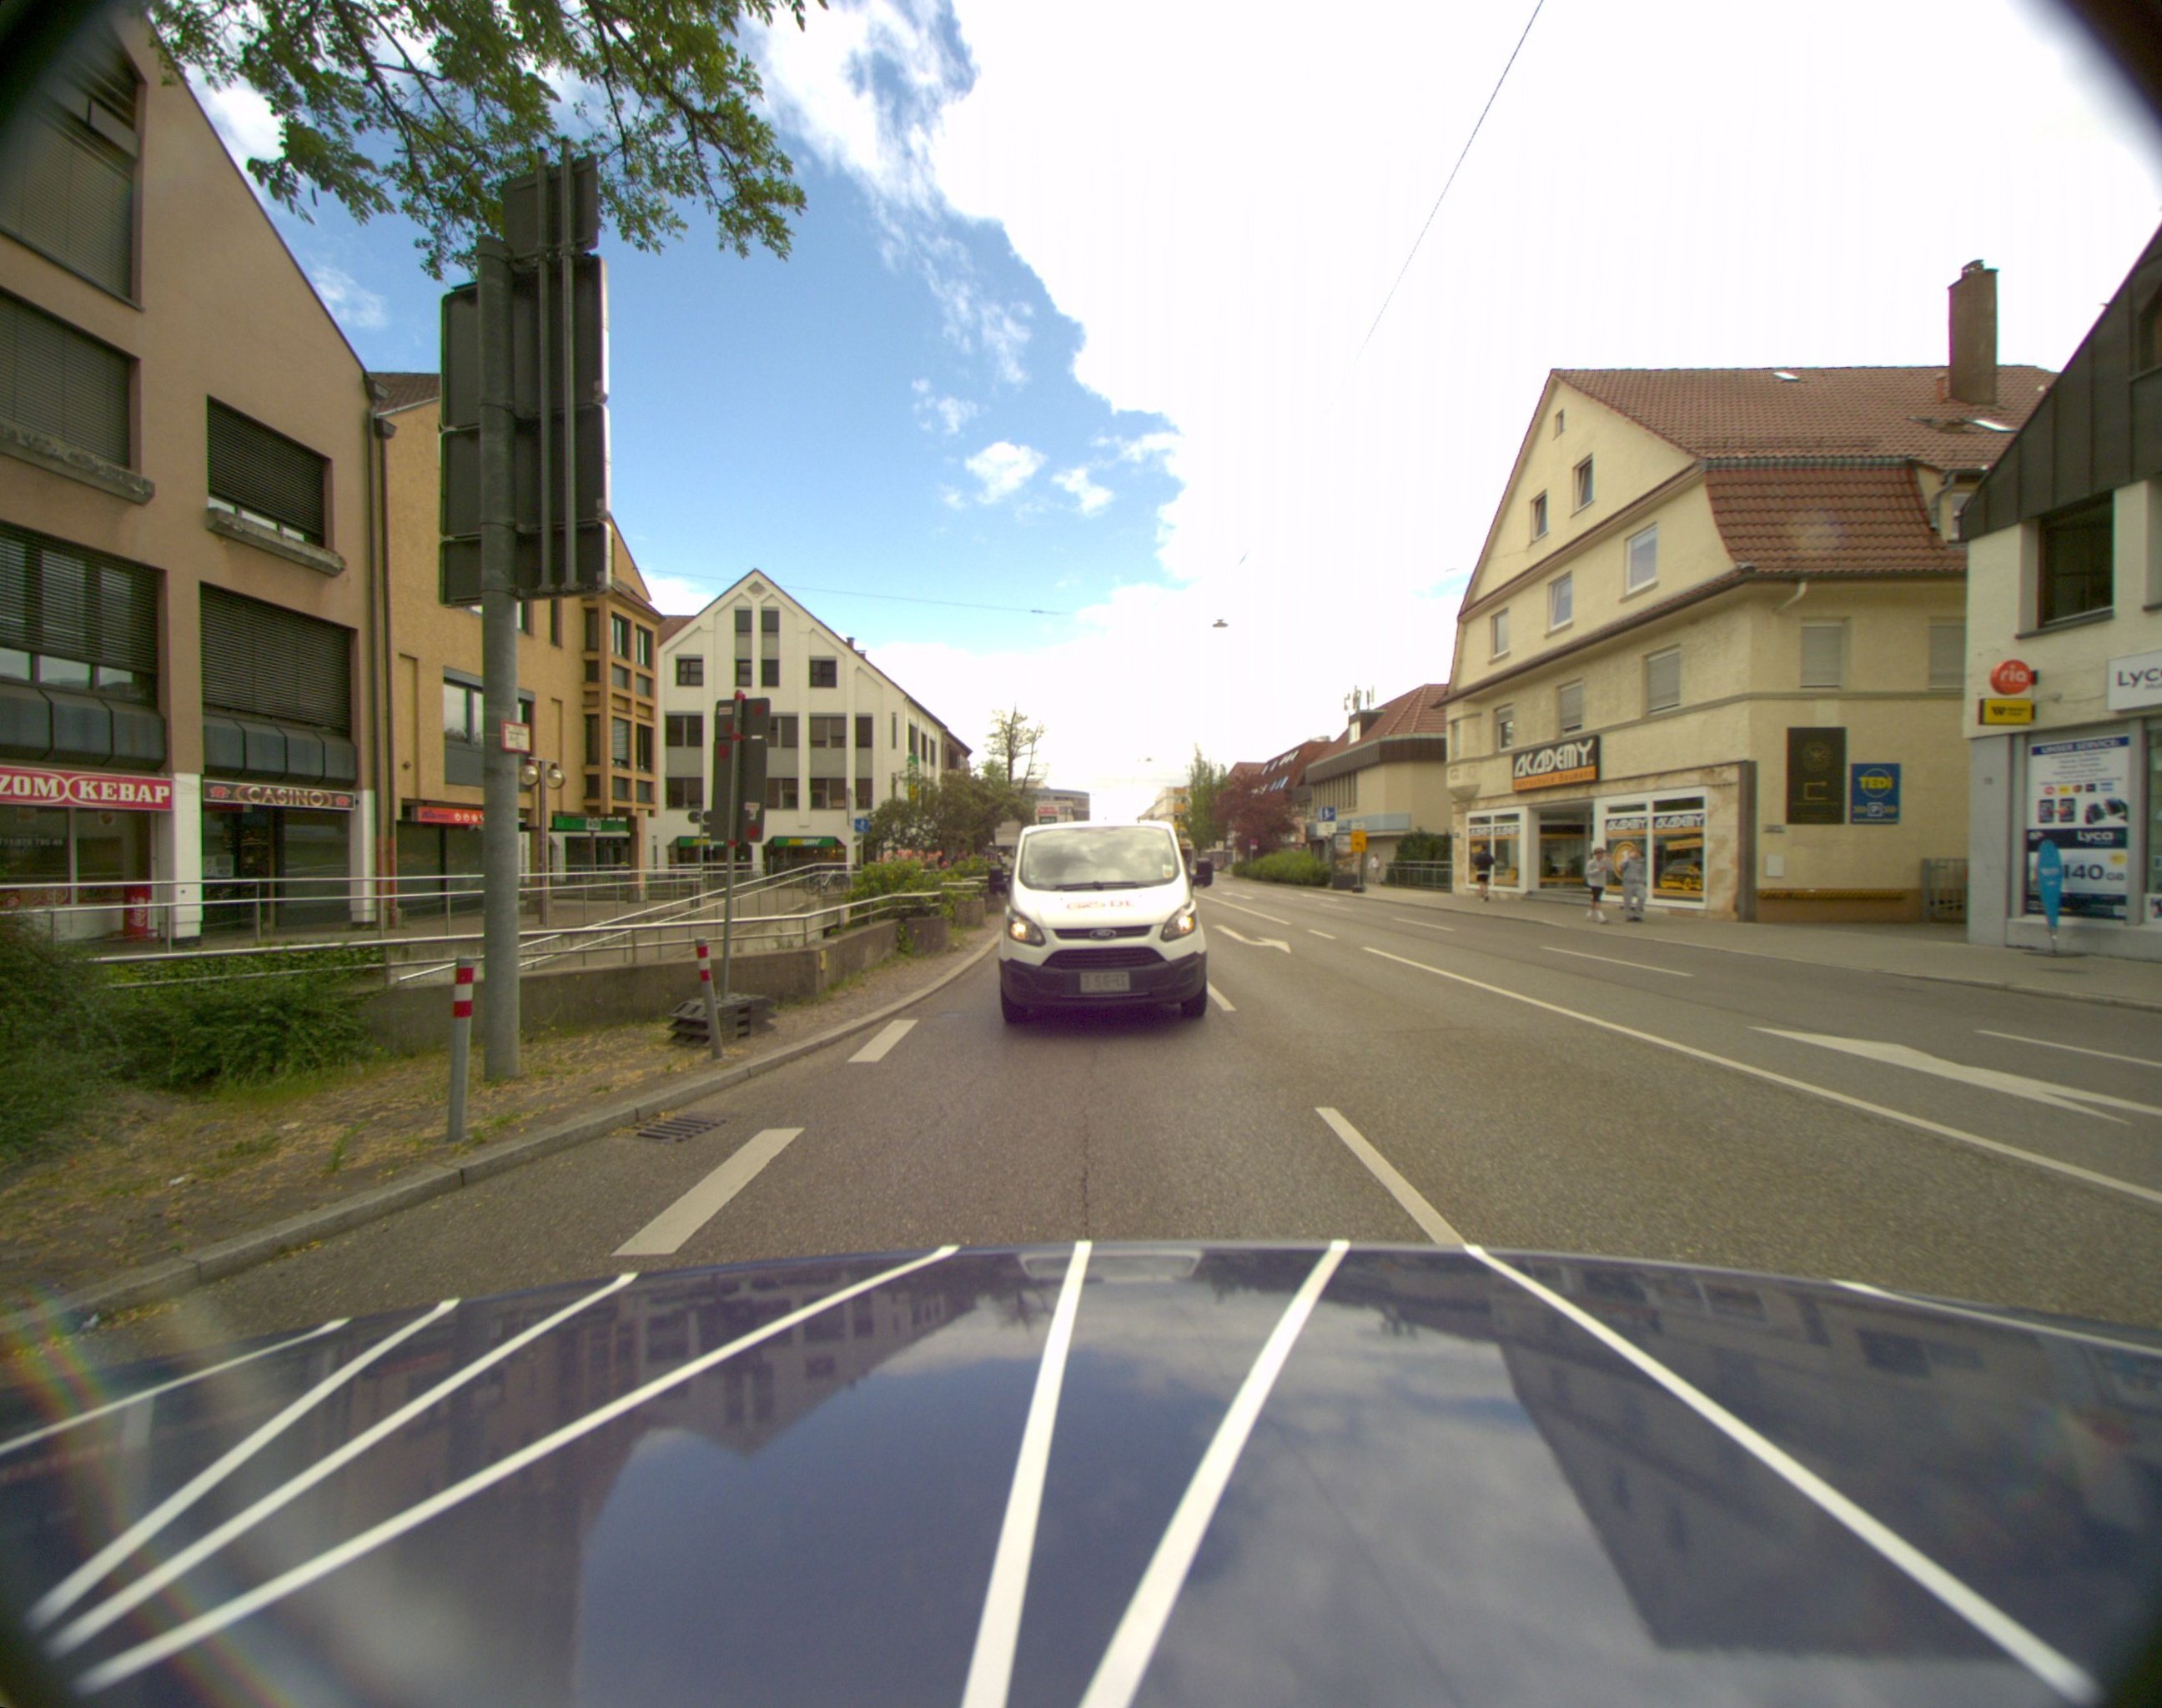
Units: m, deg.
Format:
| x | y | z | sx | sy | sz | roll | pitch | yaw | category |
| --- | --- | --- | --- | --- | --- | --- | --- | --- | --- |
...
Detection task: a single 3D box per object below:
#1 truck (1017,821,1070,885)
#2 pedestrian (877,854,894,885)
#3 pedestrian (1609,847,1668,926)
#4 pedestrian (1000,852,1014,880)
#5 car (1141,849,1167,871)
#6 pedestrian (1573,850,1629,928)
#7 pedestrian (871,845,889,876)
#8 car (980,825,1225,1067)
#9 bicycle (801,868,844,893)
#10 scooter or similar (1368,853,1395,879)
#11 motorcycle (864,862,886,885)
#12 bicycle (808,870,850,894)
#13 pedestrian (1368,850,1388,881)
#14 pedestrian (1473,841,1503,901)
| x | y | z | sx | sy | sz | roll | pitch | yaw | category |
| --- | --- | --- | --- | --- | --- | --- | --- | --- | --- |
| -2.118 | -0.089 | 45.860 | 2.446 | 3.464 | 8.347 | -2 | 1 | 1 | truck |
| -11.229 | 0.903 | 43.674 | 0.887 | 1.747 | 0.943 | -1 | 0 | -11 | pedestrian |
| 12.301 | 0.702 | 16.787 | 0.689 | 1.660 | 0.709 | -3 | 0 | 1 | pedestrian |
| -4.179 | 0.665 | 42.834 | 0.653 | 1.568 | 0.684 | -1 | 0 | 1 | pedestrian |
| 6.627 | 0.544 | 69.195 | 1.957 | 1.898 | 4.321 | 0 | 0 | 0 | car |
| 11.487 | 0.753 | 16.812 | 0.689 | 1.680 | 0.742 | -2 | 0 | 1 | pedestrian |
| -12.220 | 0.395 | 46.166 | 0.871 | 1.812 | 0.785 | -2 | 1 | -3 | pedestrian |
| 0.197 | 0.752 | 8.753 | 1.964 | 1.948 | 5.164 | -1 | 0 | 0 | car |
| -10.472 | 1.076 | 30.775 | 1.594 | 0.996 | 0.414 | -1 | 0 | -13 | bicycle |
| 15.838 | 0.632 | 40.058 | 1.193 | 1.385 | 0.539 | 0 | 1 | -14 | scooter or similar |
| -9.761 | 0.908 | 36.077 | 0.464 | 1.062 | 1.996 | -1 | 0 | 1 | motorcycle |
| -10.399 | 1.152 | 31.342 | 1.594 | 0.963 | 0.461 | -1 | 0 | -14 | bicycle |
| 17.185 | 0.669 | 43.988 | 0.835 | 1.748 | 0.838 | 0 | 0 | 1 | pedestrian |
| 12.929 | 0.530 | 24.169 | 0.551 | 1.878 | 0.592 | -2 | 0 | -3 | pedestrian |
